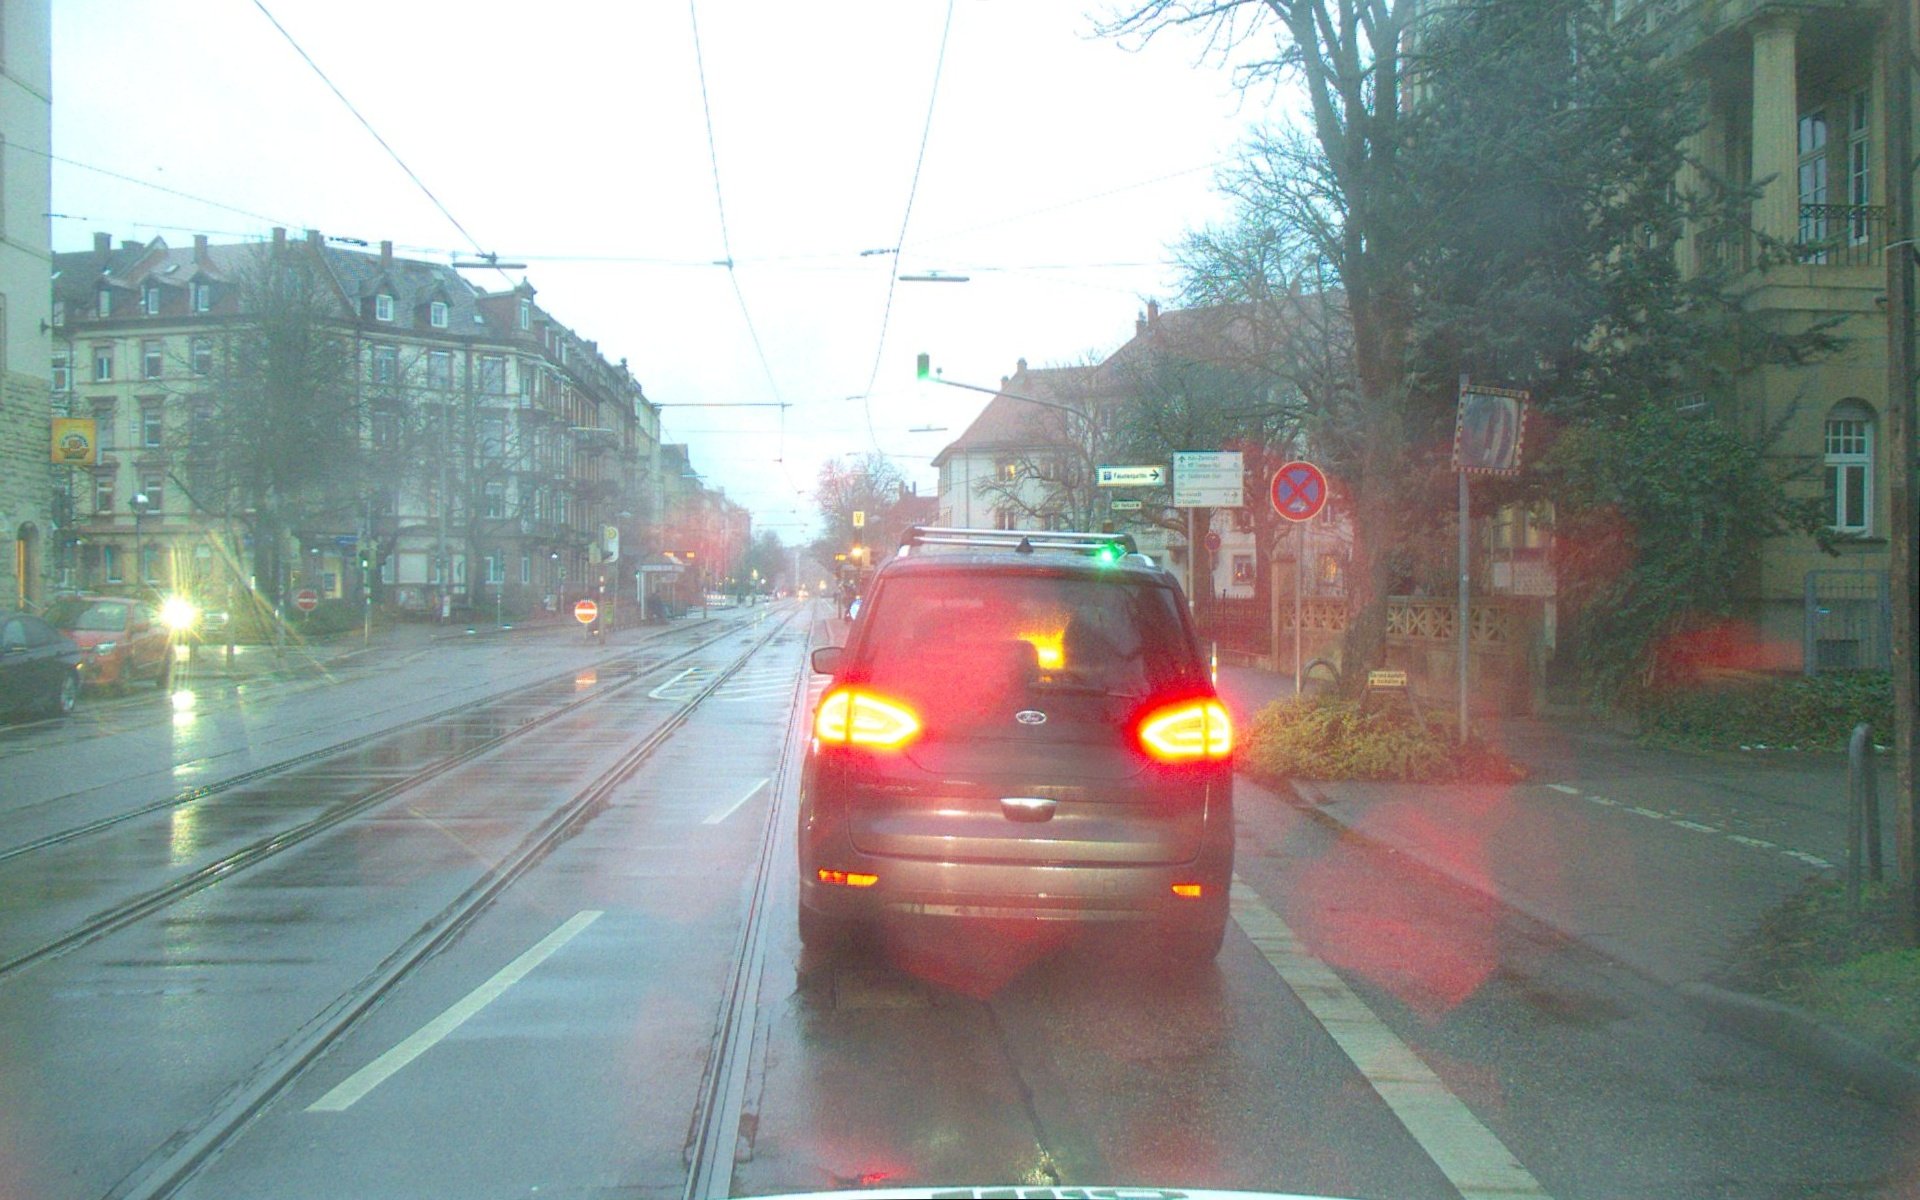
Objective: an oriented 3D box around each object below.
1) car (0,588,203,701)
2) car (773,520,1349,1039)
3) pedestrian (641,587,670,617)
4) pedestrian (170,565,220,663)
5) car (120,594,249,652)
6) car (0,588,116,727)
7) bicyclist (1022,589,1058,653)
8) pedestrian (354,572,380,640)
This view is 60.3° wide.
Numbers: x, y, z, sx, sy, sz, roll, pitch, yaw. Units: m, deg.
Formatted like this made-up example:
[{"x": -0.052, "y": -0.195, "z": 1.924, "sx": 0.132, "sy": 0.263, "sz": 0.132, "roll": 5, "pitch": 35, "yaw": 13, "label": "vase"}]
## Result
[{"x": -14.262, "y": 0.681, "z": 27.460, "sx": 2.000, "sy": 1.578, "sz": 4.023, "roll": 4, "pitch": 0, "yaw": -10, "label": "car"}, {"x": 0.284, "y": 0.648, "z": 8.367, "sx": 2.061, "sy": 1.848, "sz": 4.658, "roll": 2, "pitch": 0, "yaw": -2, "label": "car"}, {"x": -12.471, "y": 0.088, "z": 67.716, "sx": 1.027, "sy": 1.221, "sz": 0.884, "roll": 1, "pitch": 0, "yaw": -4, "label": "pedestrian"}, {"x": -16.158, "y": 0.285, "z": 34.927, "sx": 0.742, "sy": 2.049, "sz": 0.646, "roll": 0, "pitch": -1, "yaw": 32, "label": "pedestrian"}, {"x": -23.637, "y": 0.666, "z": 50.357, "sx": 3.922, "sy": 1.702, "sz": 2.013, "roll": 0, "pitch": 0, "yaw": 38, "label": "car"}, {"x": -13.137, "y": 0.694, "z": 21.823, "sx": 1.949, "sy": 1.674, "sz": 4.624, "roll": 5, "pitch": -1, "yaw": -7, "label": "car"}, {"x": 2.194, "y": 0.568, "z": 45.566, "sx": 0.703, "sy": 1.691, "sz": 1.054, "roll": 4, "pitch": 0, "yaw": -9, "label": "bicyclist"}, {"x": -17.794, "y": 0.174, "z": 49.621, "sx": 0.695, "sy": 2.049, "sz": 0.656, "roll": 0, "pitch": 0, "yaw": -24, "label": "pedestrian"}]
